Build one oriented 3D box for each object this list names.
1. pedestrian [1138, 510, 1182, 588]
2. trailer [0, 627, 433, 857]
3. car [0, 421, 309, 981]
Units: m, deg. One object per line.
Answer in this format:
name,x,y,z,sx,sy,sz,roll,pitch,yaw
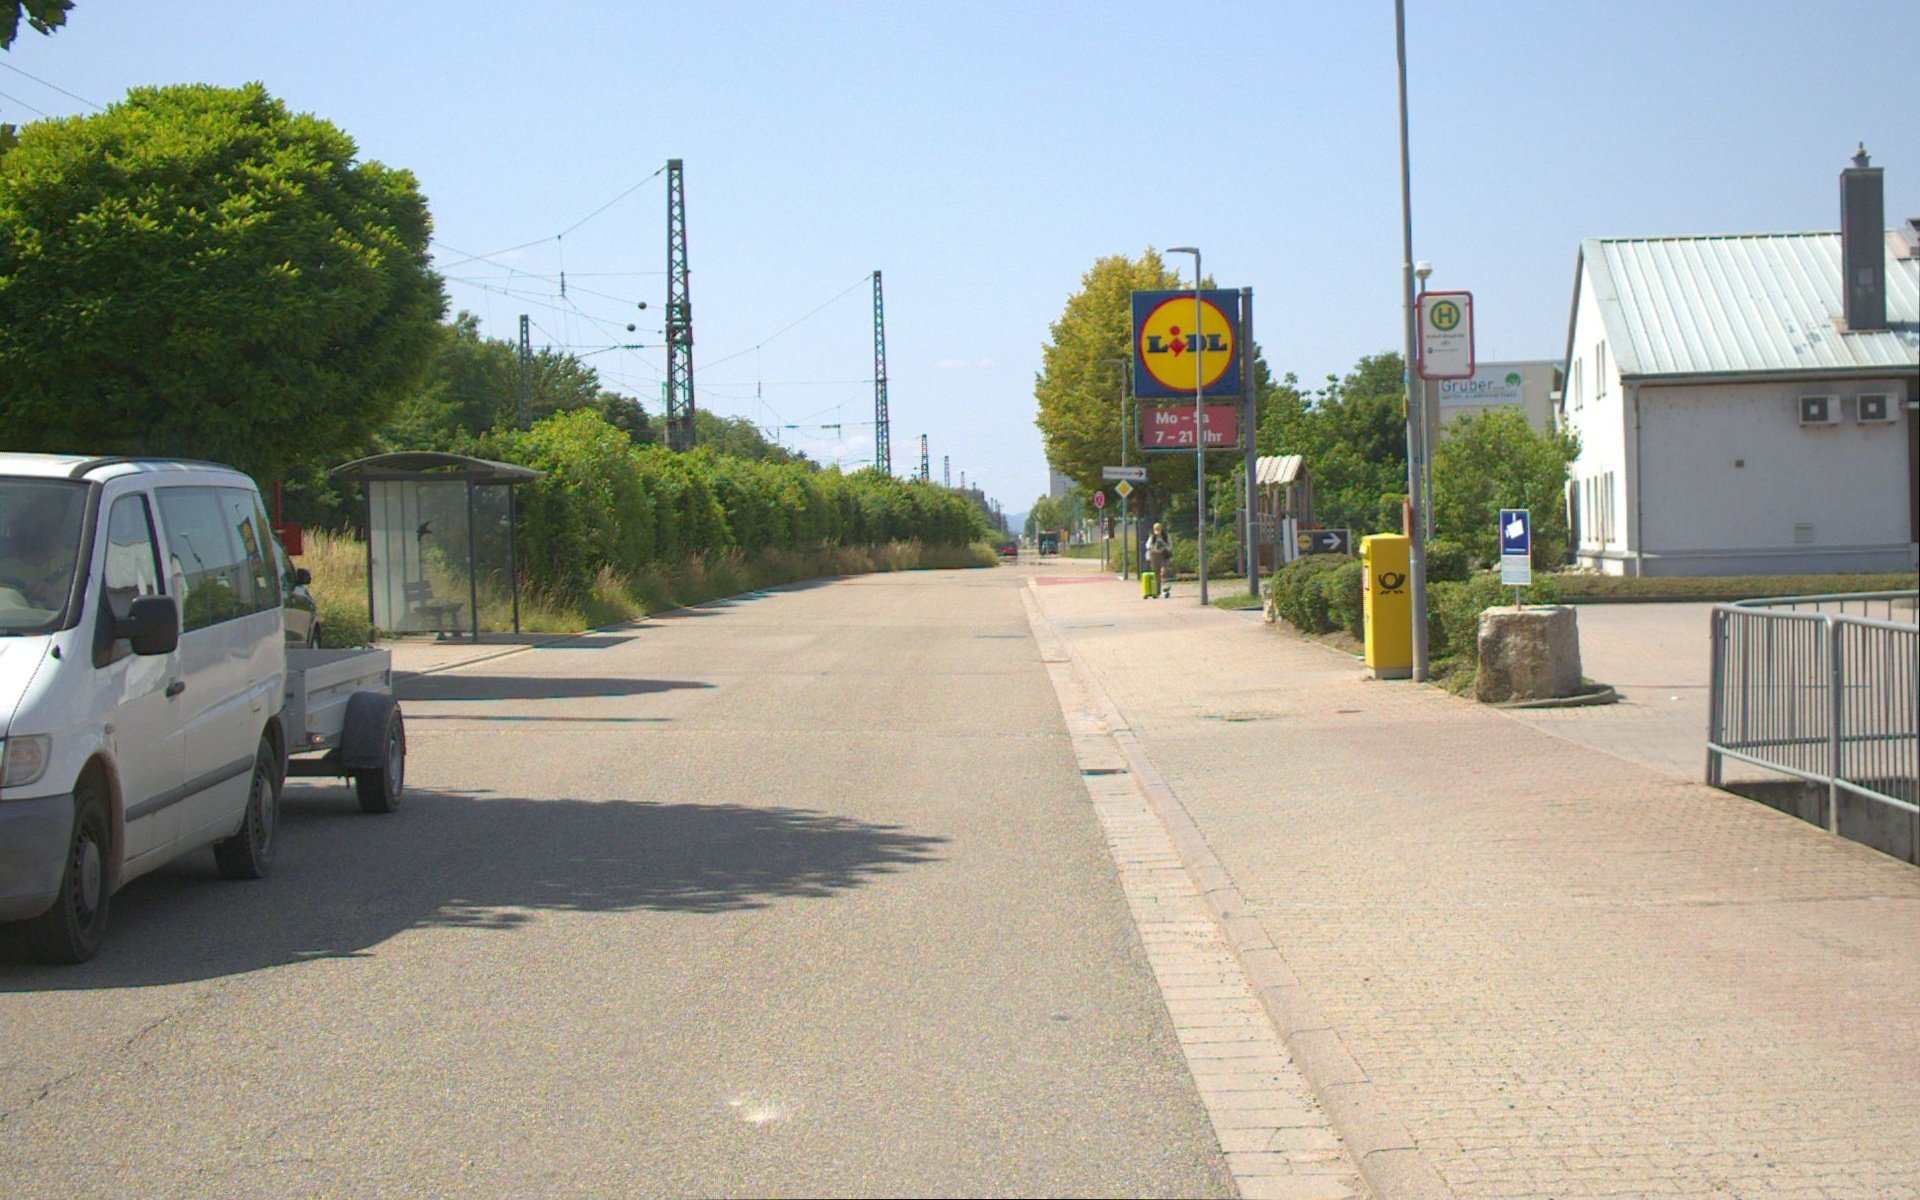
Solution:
pedestrian,4.119,-1.060,70.916,0.761,1.596,1.210,-1,1,-2
trailer,-3.958,0.679,17.970,1.818,0.847,4.223,-2,2,-1
car,-3.903,0.300,13.589,1.838,1.851,4.484,0,1,-1
